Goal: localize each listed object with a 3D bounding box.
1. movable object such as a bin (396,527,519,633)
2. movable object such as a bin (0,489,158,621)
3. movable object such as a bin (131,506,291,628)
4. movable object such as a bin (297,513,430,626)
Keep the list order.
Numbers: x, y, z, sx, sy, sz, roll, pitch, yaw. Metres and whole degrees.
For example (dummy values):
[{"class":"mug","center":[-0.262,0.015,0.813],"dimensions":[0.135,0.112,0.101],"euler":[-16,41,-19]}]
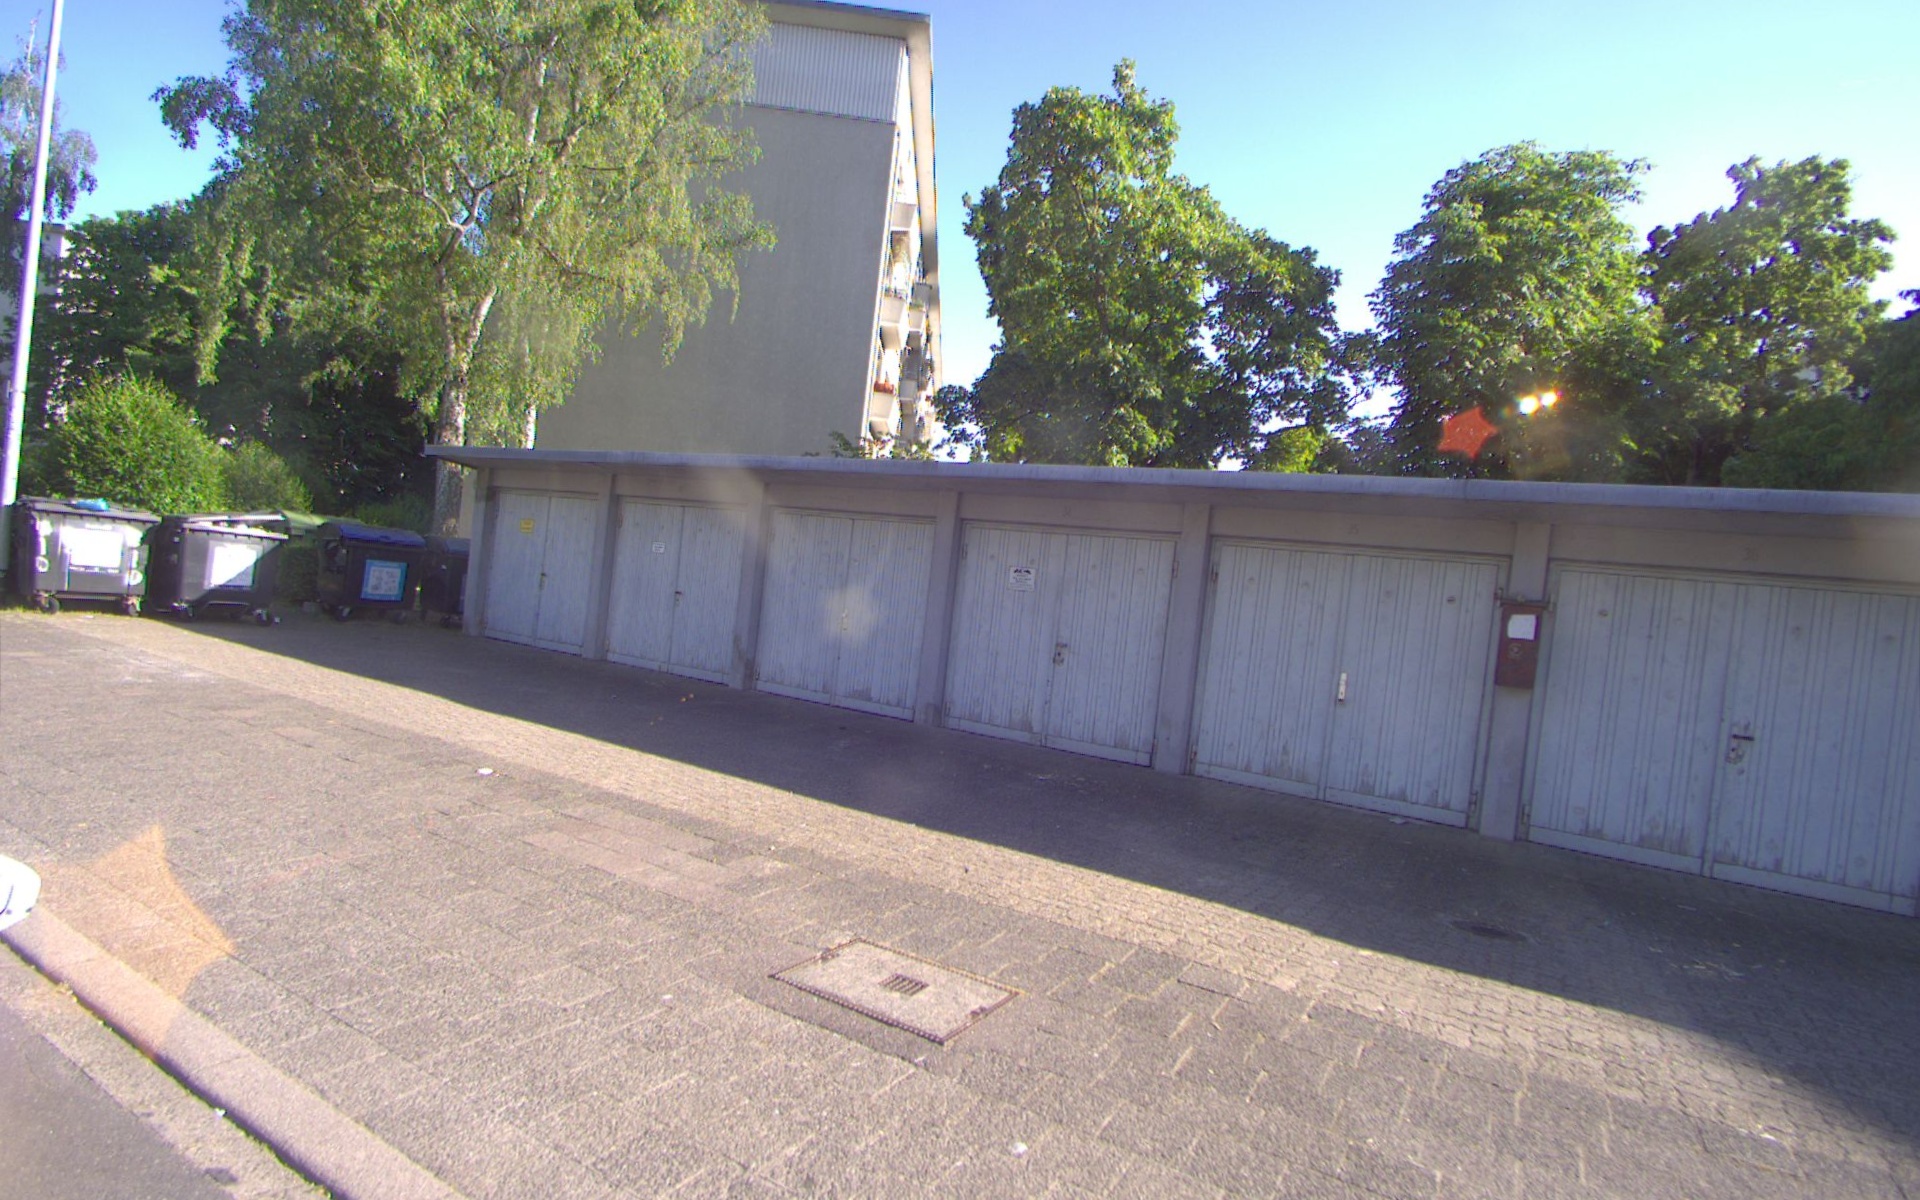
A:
[{"class":"movable object such as a bin","center":[-8.229,-0.315,16.484],"dimensions":[1.114,1.485,1.277],"euler":[11,3,34]},{"class":"movable object such as a bin","center":[-10.633,-0.525,12.073],"dimensions":[1.115,1.382,1.224],"euler":[7,0,34]},{"class":"movable object such as a bin","center":[-9.652,-0.415,12.986],"dimensions":[1.115,1.382,1.277],"euler":[7,0,34]},{"class":"movable object such as a bin","center":[-9.201,-0.457,15.530],"dimensions":[1.114,1.485,1.277],"euler":[11,3,34]}]
